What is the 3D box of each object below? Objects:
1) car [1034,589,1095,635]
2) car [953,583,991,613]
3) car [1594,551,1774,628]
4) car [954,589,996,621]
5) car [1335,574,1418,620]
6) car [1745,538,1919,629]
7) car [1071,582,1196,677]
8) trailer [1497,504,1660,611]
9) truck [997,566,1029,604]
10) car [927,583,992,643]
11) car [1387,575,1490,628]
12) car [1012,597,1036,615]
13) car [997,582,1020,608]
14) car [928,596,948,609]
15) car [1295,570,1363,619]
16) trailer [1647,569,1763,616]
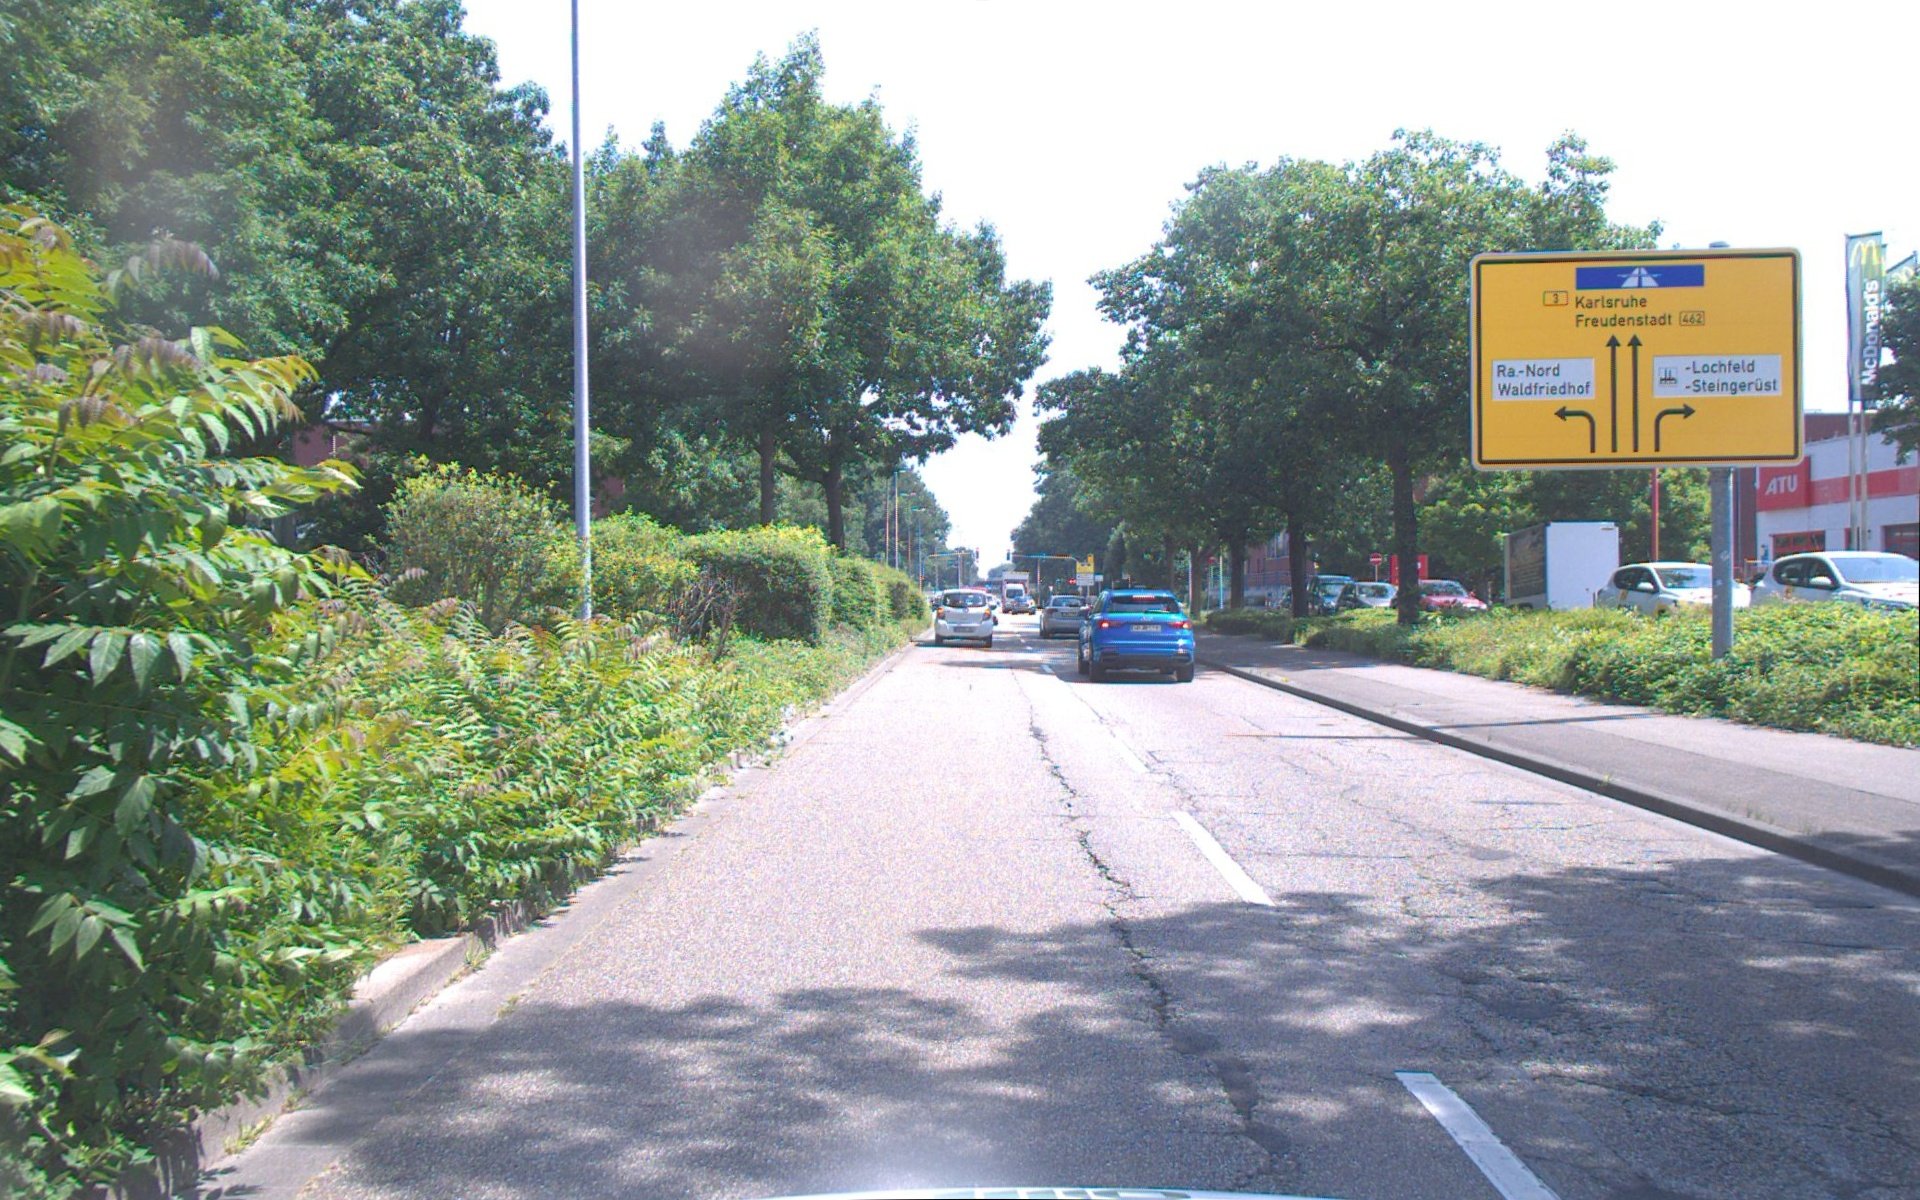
[{"bbox_3d":[3.512,0.391,56.007,1.827,1.499,4.000,0,0,0],"label":"car"},{"bbox_3d":[0.630,-0.095,88.763,1.759,1.550,3.997,0,0,-3],"label":"car"},{"bbox_3d":[12.795,-0.165,29.441,1.586,1.275,3.630,0,0,-1],"label":"car"},{"bbox_3d":[0.698,0.241,75.187,1.846,1.378,4.000,0,0,1],"label":"car"},{"bbox_3d":[13.297,-0.117,52.977,1.666,1.404,3.905,0,0,0],"label":"car"},{"bbox_3d":[12.784,-0.201,23.437,1.560,1.178,3.738,0,0,0],"label":"car"},{"bbox_3d":[3.087,0.515,30.187,1.772,1.621,4.348,0,0,-1],"label":"car"},{"bbox_3d":[13.054,-0.863,35.263,1.665,2.091,5.486,0,0,3],"label":"trailer"},{"bbox_3d":[5.194,-1.453,163.022,2.872,3.564,9.158,-1,0,1],"label":"truck"},{"bbox_3d":[-0.044,0.354,45.691,1.606,1.579,3.323,0,0,-3],"label":"car"},{"bbox_3d":[13.510,0.021,46.928,1.666,1.404,4.324,0,0,0],"label":"car"},{"bbox_3d":[5.301,0.490,136.982,1.827,1.333,4.000,-1,0,0],"label":"car"},{"bbox_3d":[4.465,-0.438,152.372,1.952,2.295,4.000,-1,0,1],"label":"car"},{"bbox_3d":[-2.196,0.248,167.724,1.952,1.310,4.000,-1,0,1],"label":"car"},{"bbox_3d":[13.054,-0.172,58.744,1.665,1.666,3.906,0,0,2],"label":"car"},{"bbox_3d":[26.772,-0.272,59.501,3.529,1.609,1.413,-1,0,2],"label":"trailer"}]
